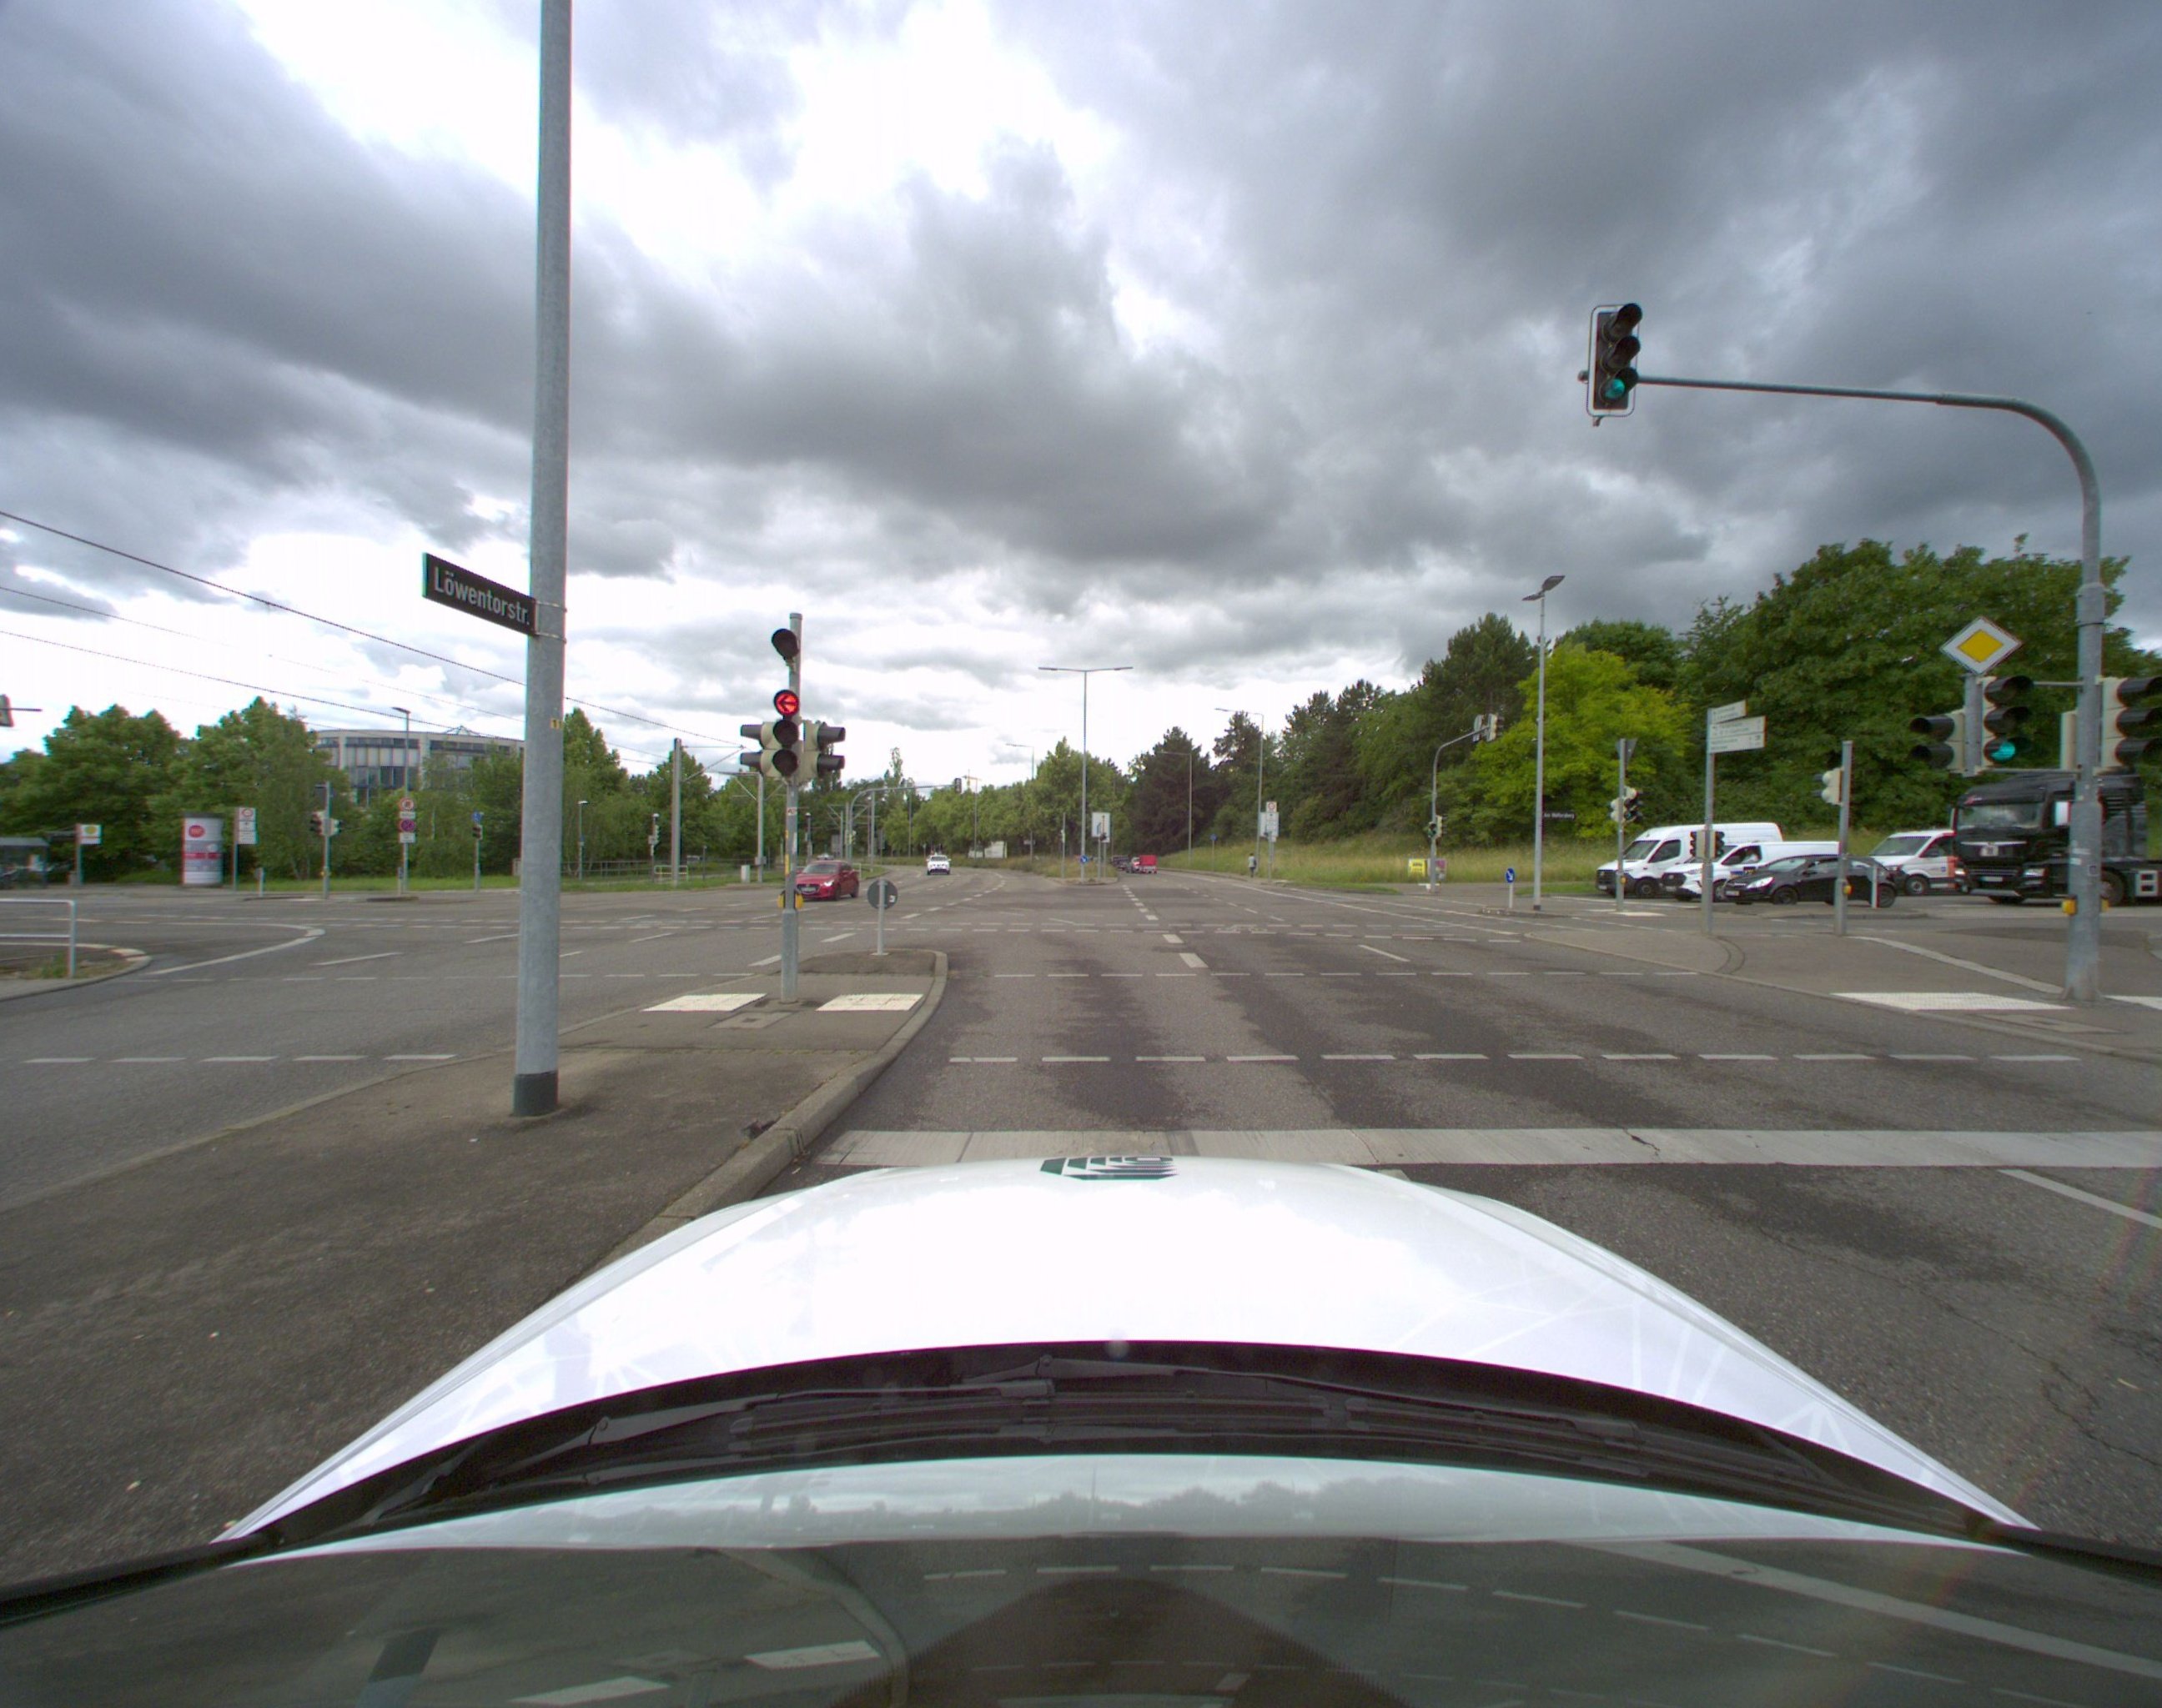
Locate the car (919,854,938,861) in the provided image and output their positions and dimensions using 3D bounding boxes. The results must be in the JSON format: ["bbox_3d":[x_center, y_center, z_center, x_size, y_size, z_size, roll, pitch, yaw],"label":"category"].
[{"bbox_3d":[-33.299,0.720,178.347,1.761,1.546,4.050,0,0,32],"label":"car"}]

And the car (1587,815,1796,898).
[{"bbox_3d":[21.898,0.095,29.406,5.870,2.781,2.136,-1,0,2],"label":"car"}]

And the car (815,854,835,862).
[{"bbox_3d":[-52.956,0.871,168.488,3.948,1.684,2.013,-1,-1,36],"label":"car"}]

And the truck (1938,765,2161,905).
[{"bbox_3d":[27.935,-0.515,22.267,6.027,3.538,2.729,-1,0,2],"label":"truck"}]

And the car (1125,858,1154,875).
[{"bbox_3d":[5.372,1.108,75.169,1.776,1.421,4.447,0,0,-7],"label":"car"}]

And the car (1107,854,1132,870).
[{"bbox_3d":[4.041,0.816,85.382,1.778,1.546,4.012,0,0,-9],"label":"car"}]

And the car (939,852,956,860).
[{"bbox_3d":[-28.449,0.450,173.631,1.762,1.546,4.048,0,0,25],"label":"car"}]

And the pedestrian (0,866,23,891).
[{"bbox_3d":[-56.425,1.265,42.833,0.774,1.304,0.666,0,0,15],"label":"pedestrian"}]

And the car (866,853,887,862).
[{"bbox_3d":[-40.025,0.705,159.687,3.948,1.684,2.013,-1,-1,38],"label":"car"}]

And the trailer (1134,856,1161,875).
[{"bbox_3d":[5.846,1.016,71.453,1.763,1.616,3.036,0,0,-7],"label":"trailer"}]

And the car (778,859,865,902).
[{"bbox_3d":[-9.528,0.929,30.277,1.775,1.443,4.424,-1,0,0],"label":"car"}]

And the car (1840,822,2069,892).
[{"bbox_3d":[30.683,0.110,28.761,5.677,2.289,2.136,-1,0,2],"label":"car"}]

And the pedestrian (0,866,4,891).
[{"bbox_3d":[-57.778,1.298,43.129,0.774,1.303,0.666,0,0,15],"label":"pedestrian"}]

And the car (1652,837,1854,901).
[{"bbox_3d":[21.592,0.458,26.326,4.836,1.896,2.034,-1,0,1],"label":"car"}]

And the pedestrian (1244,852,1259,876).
[{"bbox_3d":[11.310,0.661,54.005,0.811,1.627,0.791,0,0,1],"label":"pedestrian"}]

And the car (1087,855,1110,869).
[{"bbox_3d":[2.022,0.908,95.055,1.780,1.546,4.006,-1,0,-14],"label":"car"}]

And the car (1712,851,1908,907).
[{"bbox_3d":[20.281,0.669,22.769,3.905,1.436,1.732,-1,0,1],"label":"car"}]

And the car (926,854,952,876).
[{"bbox_3d":[-11.359,0.849,65.456,1.827,1.629,4.414,-1,0,-7],"label":"car"}]

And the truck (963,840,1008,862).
[{"bbox_3d":[-15.571,-0.476,131.497,2.758,3.328,11.292,-1,0,-32],"label":"truck"}]
